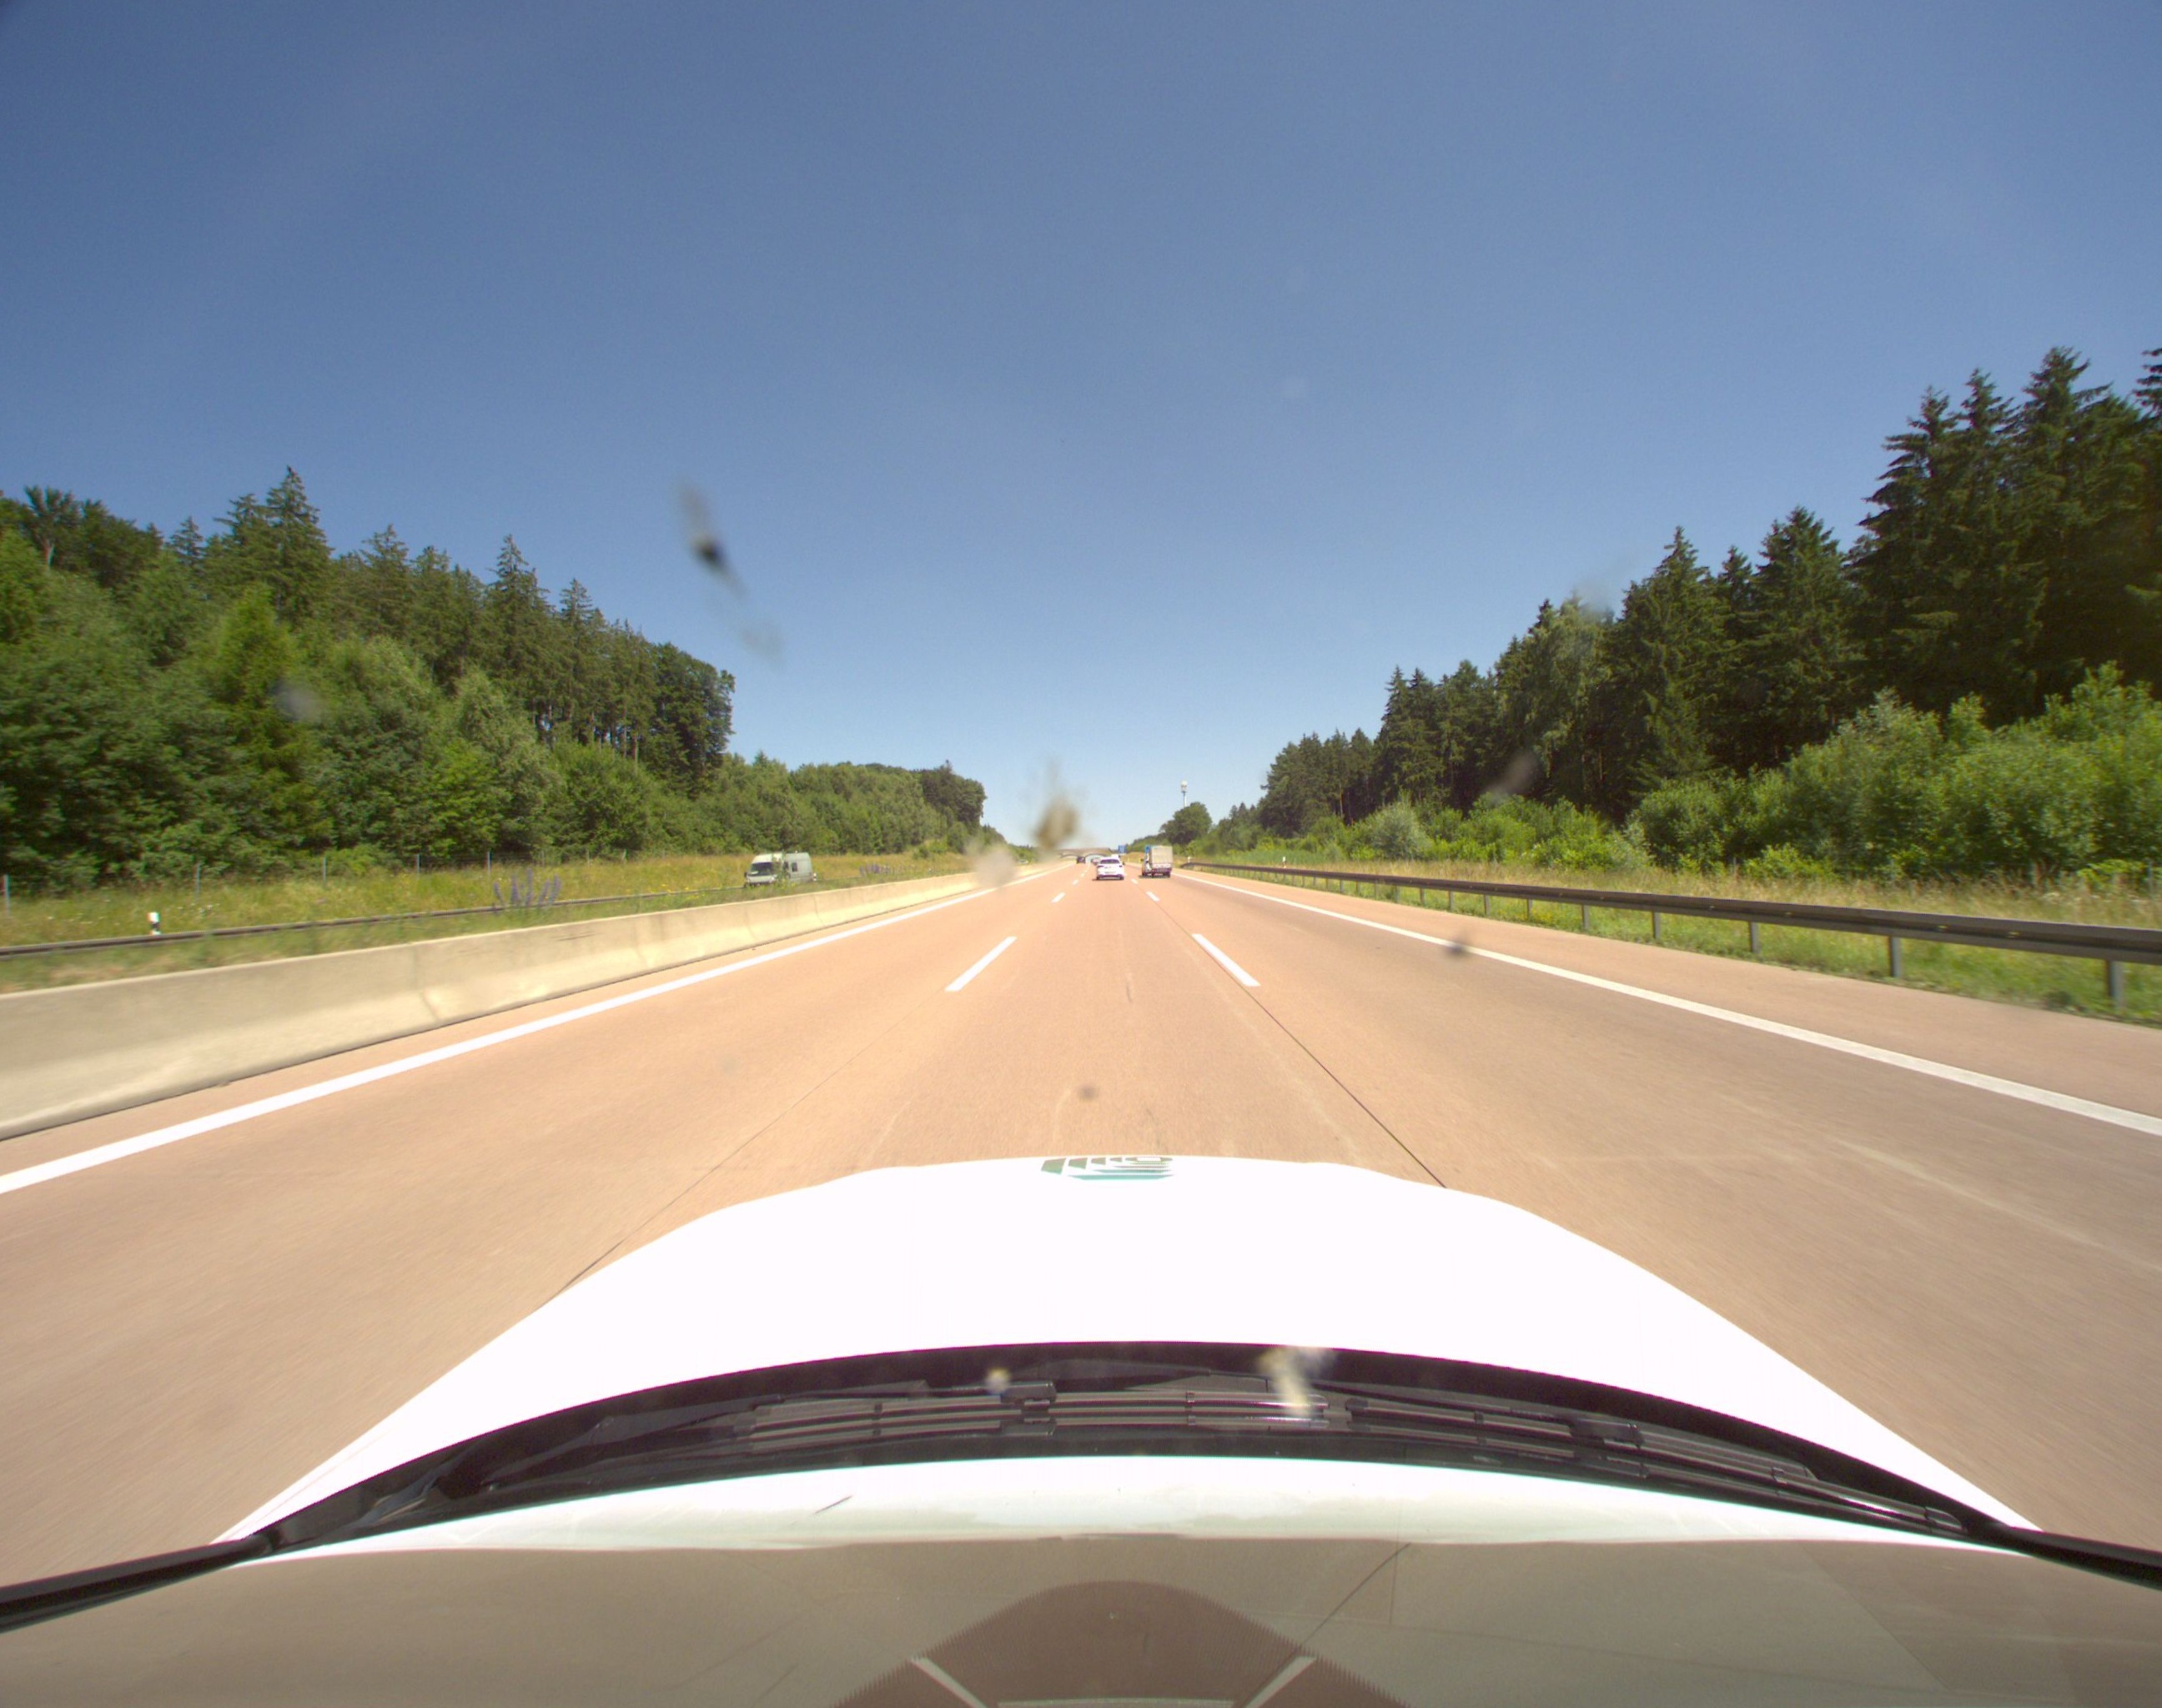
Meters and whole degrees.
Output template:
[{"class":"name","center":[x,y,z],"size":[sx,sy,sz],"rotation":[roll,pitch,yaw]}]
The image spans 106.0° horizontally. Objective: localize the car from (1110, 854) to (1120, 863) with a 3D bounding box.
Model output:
[{"class":"car","center":[7.325,0.956,175.327],"size":[2.102,2.054,4.003],"rotation":[-1,0,3]}]

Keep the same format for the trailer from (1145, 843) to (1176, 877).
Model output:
[{"class":"trailer","center":[5.297,0.425,54.942],"size":[1.652,2.164,4.015],"rotation":[-1,-1,0]}]

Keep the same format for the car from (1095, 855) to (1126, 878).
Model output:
[{"class":"car","center":[1.827,0.792,51.864],"size":[1.884,1.398,4.000],"rotation":[0,0,0]}]

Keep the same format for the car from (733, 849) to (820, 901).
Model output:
[{"class":"car","center":[-17.194,1.106,46.446],"size":[2.225,2.686,6.888],"rotation":[-1,0,1]}]

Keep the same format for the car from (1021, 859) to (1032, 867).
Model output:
[{"class":"car","center":[-11.346,1.868,169.304],"size":[1.884,1.594,4.465],"rotation":[-1,0,1]}]

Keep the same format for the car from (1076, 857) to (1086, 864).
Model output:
[{"class":"car","center":[0.084,1.303,174.244],"size":[1.883,1.463,4.003],"rotation":[-1,0,3]}]

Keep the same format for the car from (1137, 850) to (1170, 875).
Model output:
[{"class":"car","center":[5.246,0.616,59.470],"size":[1.885,1.728,5.184],"rotation":[-1,0,-1]}]

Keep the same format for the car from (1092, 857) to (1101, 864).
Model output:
[{"class":"car","center":[3.169,1.306,168.394],"size":[1.884,1.463,4.001],"rotation":[-1,0,1]}]
